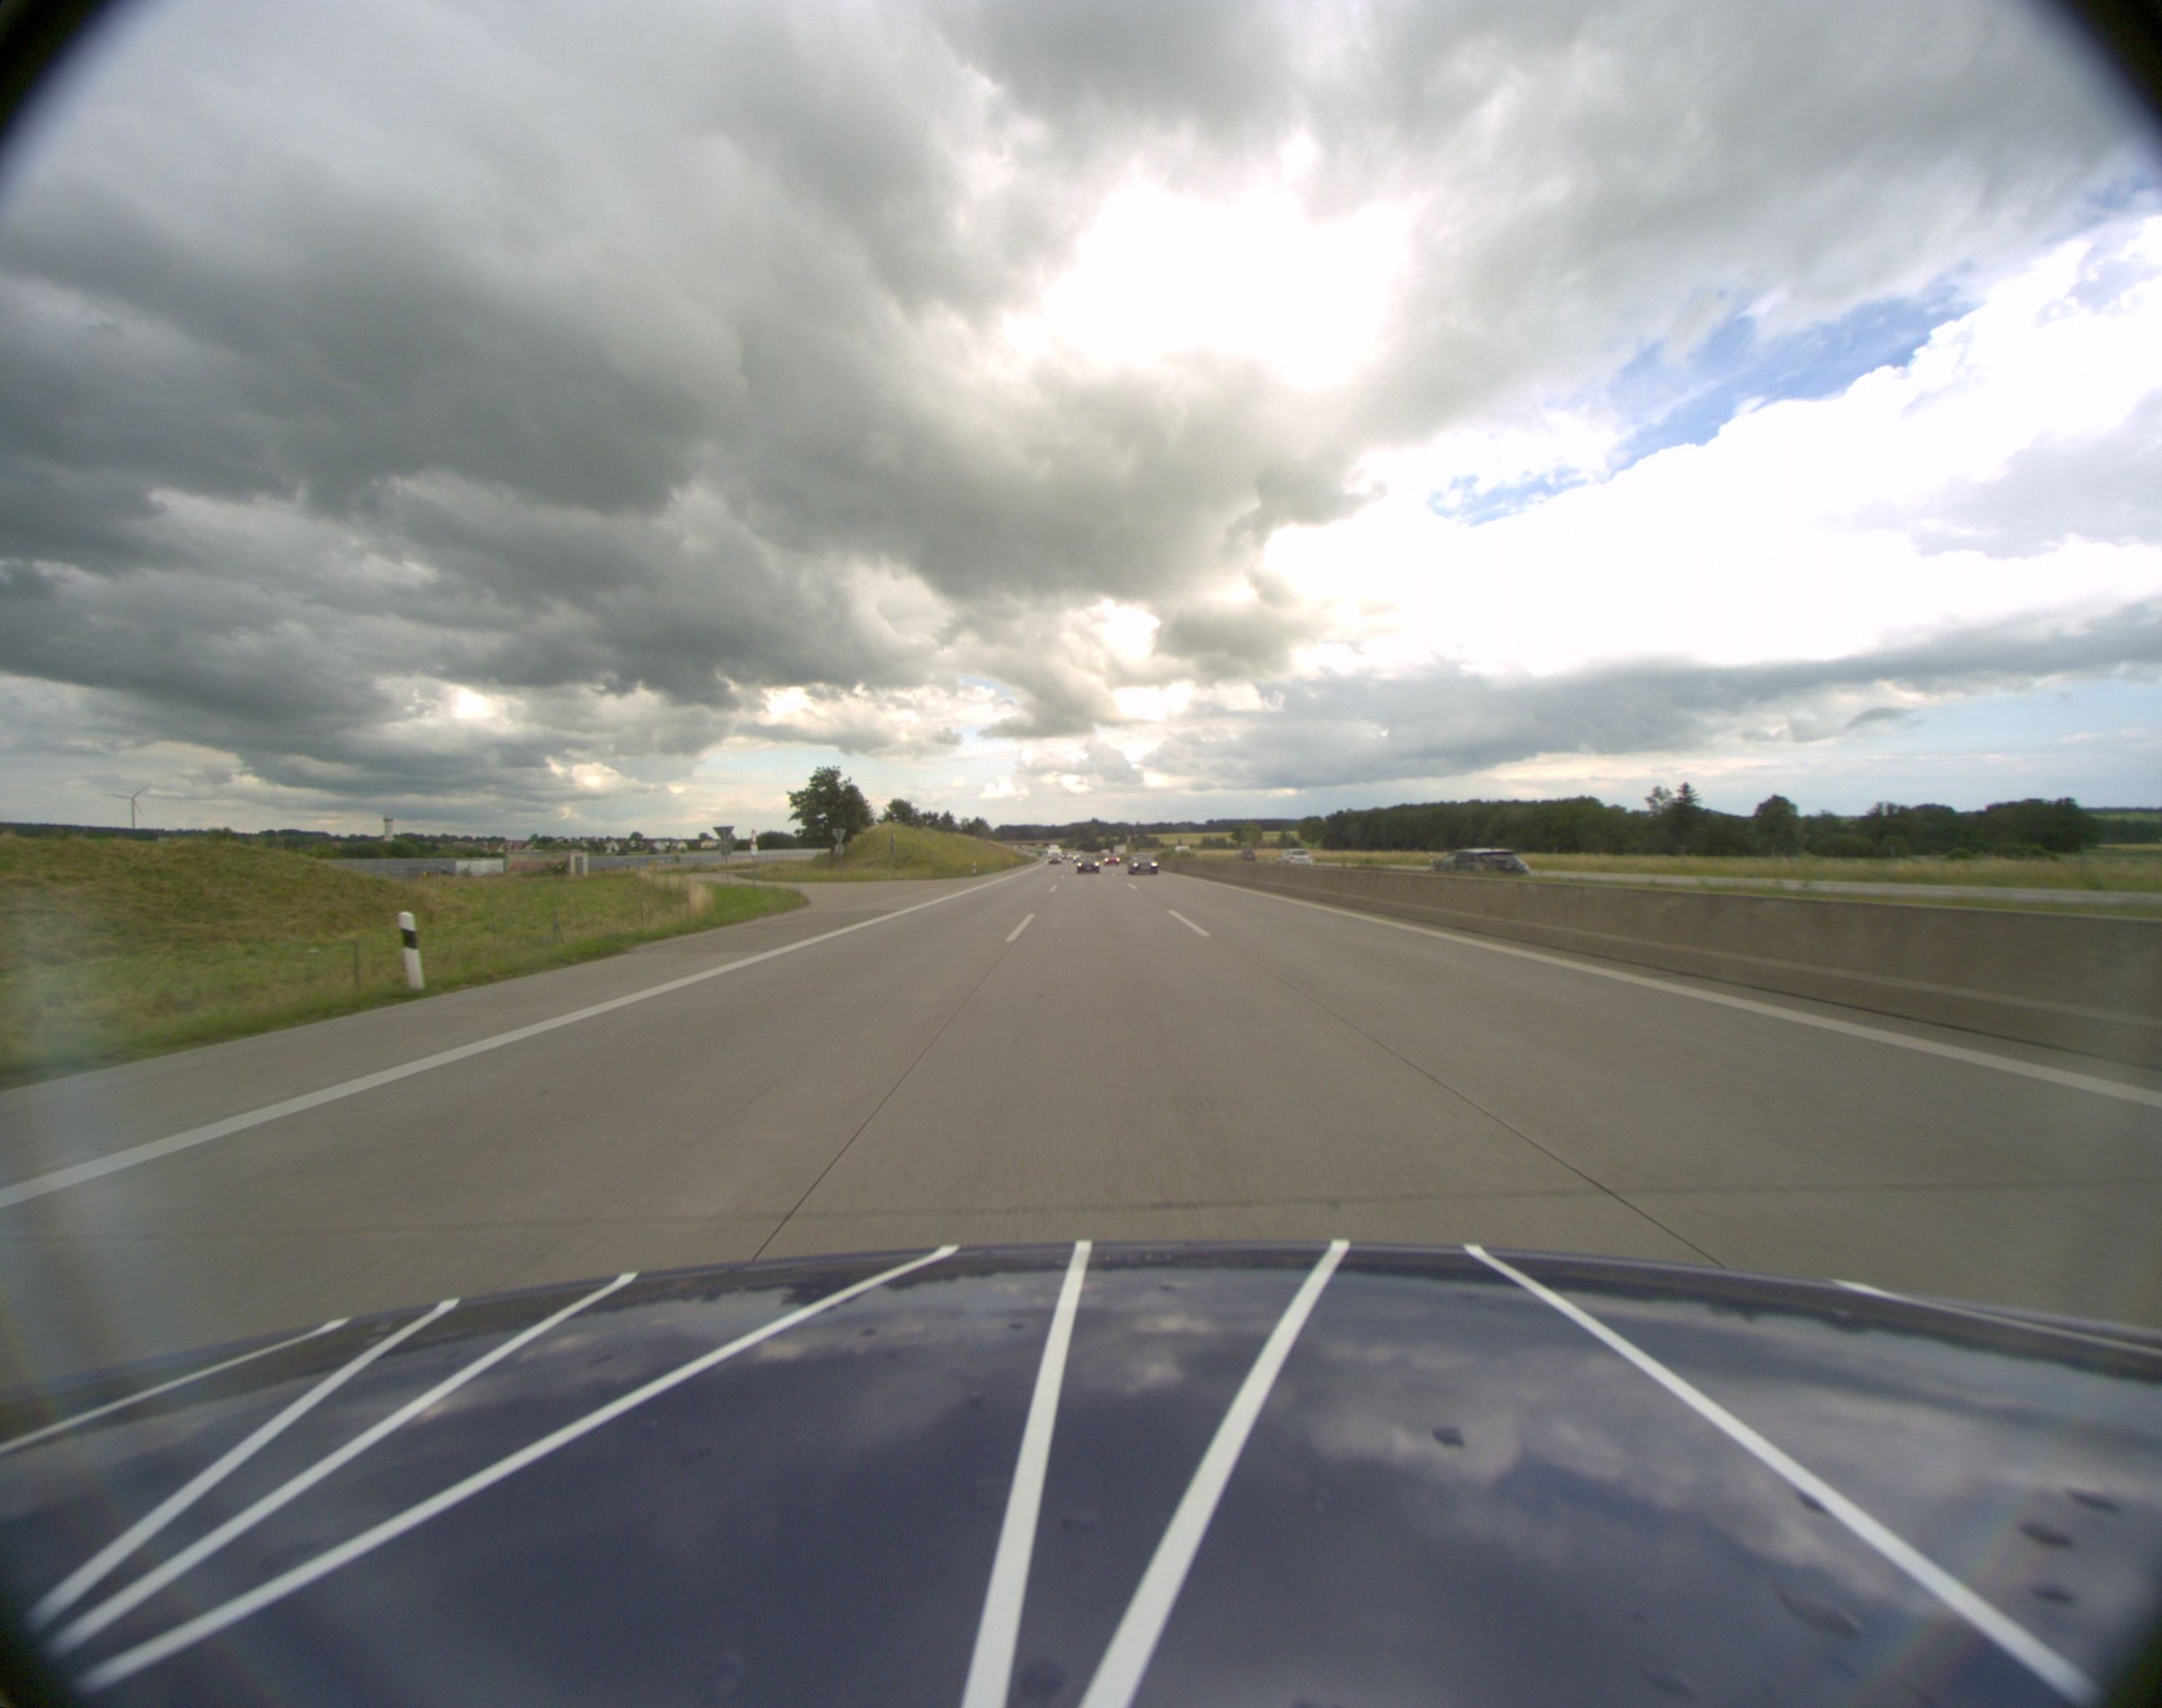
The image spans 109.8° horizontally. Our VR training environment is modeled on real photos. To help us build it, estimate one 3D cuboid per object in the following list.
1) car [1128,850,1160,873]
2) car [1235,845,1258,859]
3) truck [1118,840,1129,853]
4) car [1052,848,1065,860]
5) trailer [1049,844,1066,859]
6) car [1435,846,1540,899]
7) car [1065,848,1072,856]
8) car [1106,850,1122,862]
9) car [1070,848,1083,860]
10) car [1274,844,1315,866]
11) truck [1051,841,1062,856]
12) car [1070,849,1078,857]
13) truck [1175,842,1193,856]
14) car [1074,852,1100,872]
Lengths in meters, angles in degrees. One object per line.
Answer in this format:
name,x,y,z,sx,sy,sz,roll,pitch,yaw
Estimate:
car,4.286,0.513,52.121,1.940,1.464,4.000,-2,0,1
car,20.034,-0.218,92.168,1.753,1.631,4.943,-2,0,0
truck,14.725,-2.631,262.683,2.848,4.231,14.562,-2,1,0
car,-3.653,-0.049,122.398,1.944,1.799,5.029,-2,1,-4
trailer,-4.034,-0.461,128.255,2.616,2.519,6.718,-2,1,-4
car,12.614,0.534,23.778,1.620,1.463,3.099,-3,0,1
car,-3.769,-0.627,229.231,1.999,2.002,3.998,-2,1,-3
car,3.998,0.262,93.074,1.821,1.364,3.782,-3,1,1
car,-0.808,0.000,129.898,1.999,2.002,3.999,-2,0,-1
car,16.153,0.071,57.684,1.782,1.498,4.516,-2,1,0
truck,-7.051,-1.460,214.797,2.855,4.176,10.706,-2,0,-3
car,-1.838,-0.374,198.805,1.810,2.002,3.841,-3,1,-3
truck,19.238,-0.999,142.070,2.150,2.552,7.446,-2,1,0
car,0.457,0.575,59.520,1.691,1.405,3.998,-2,1,-3
